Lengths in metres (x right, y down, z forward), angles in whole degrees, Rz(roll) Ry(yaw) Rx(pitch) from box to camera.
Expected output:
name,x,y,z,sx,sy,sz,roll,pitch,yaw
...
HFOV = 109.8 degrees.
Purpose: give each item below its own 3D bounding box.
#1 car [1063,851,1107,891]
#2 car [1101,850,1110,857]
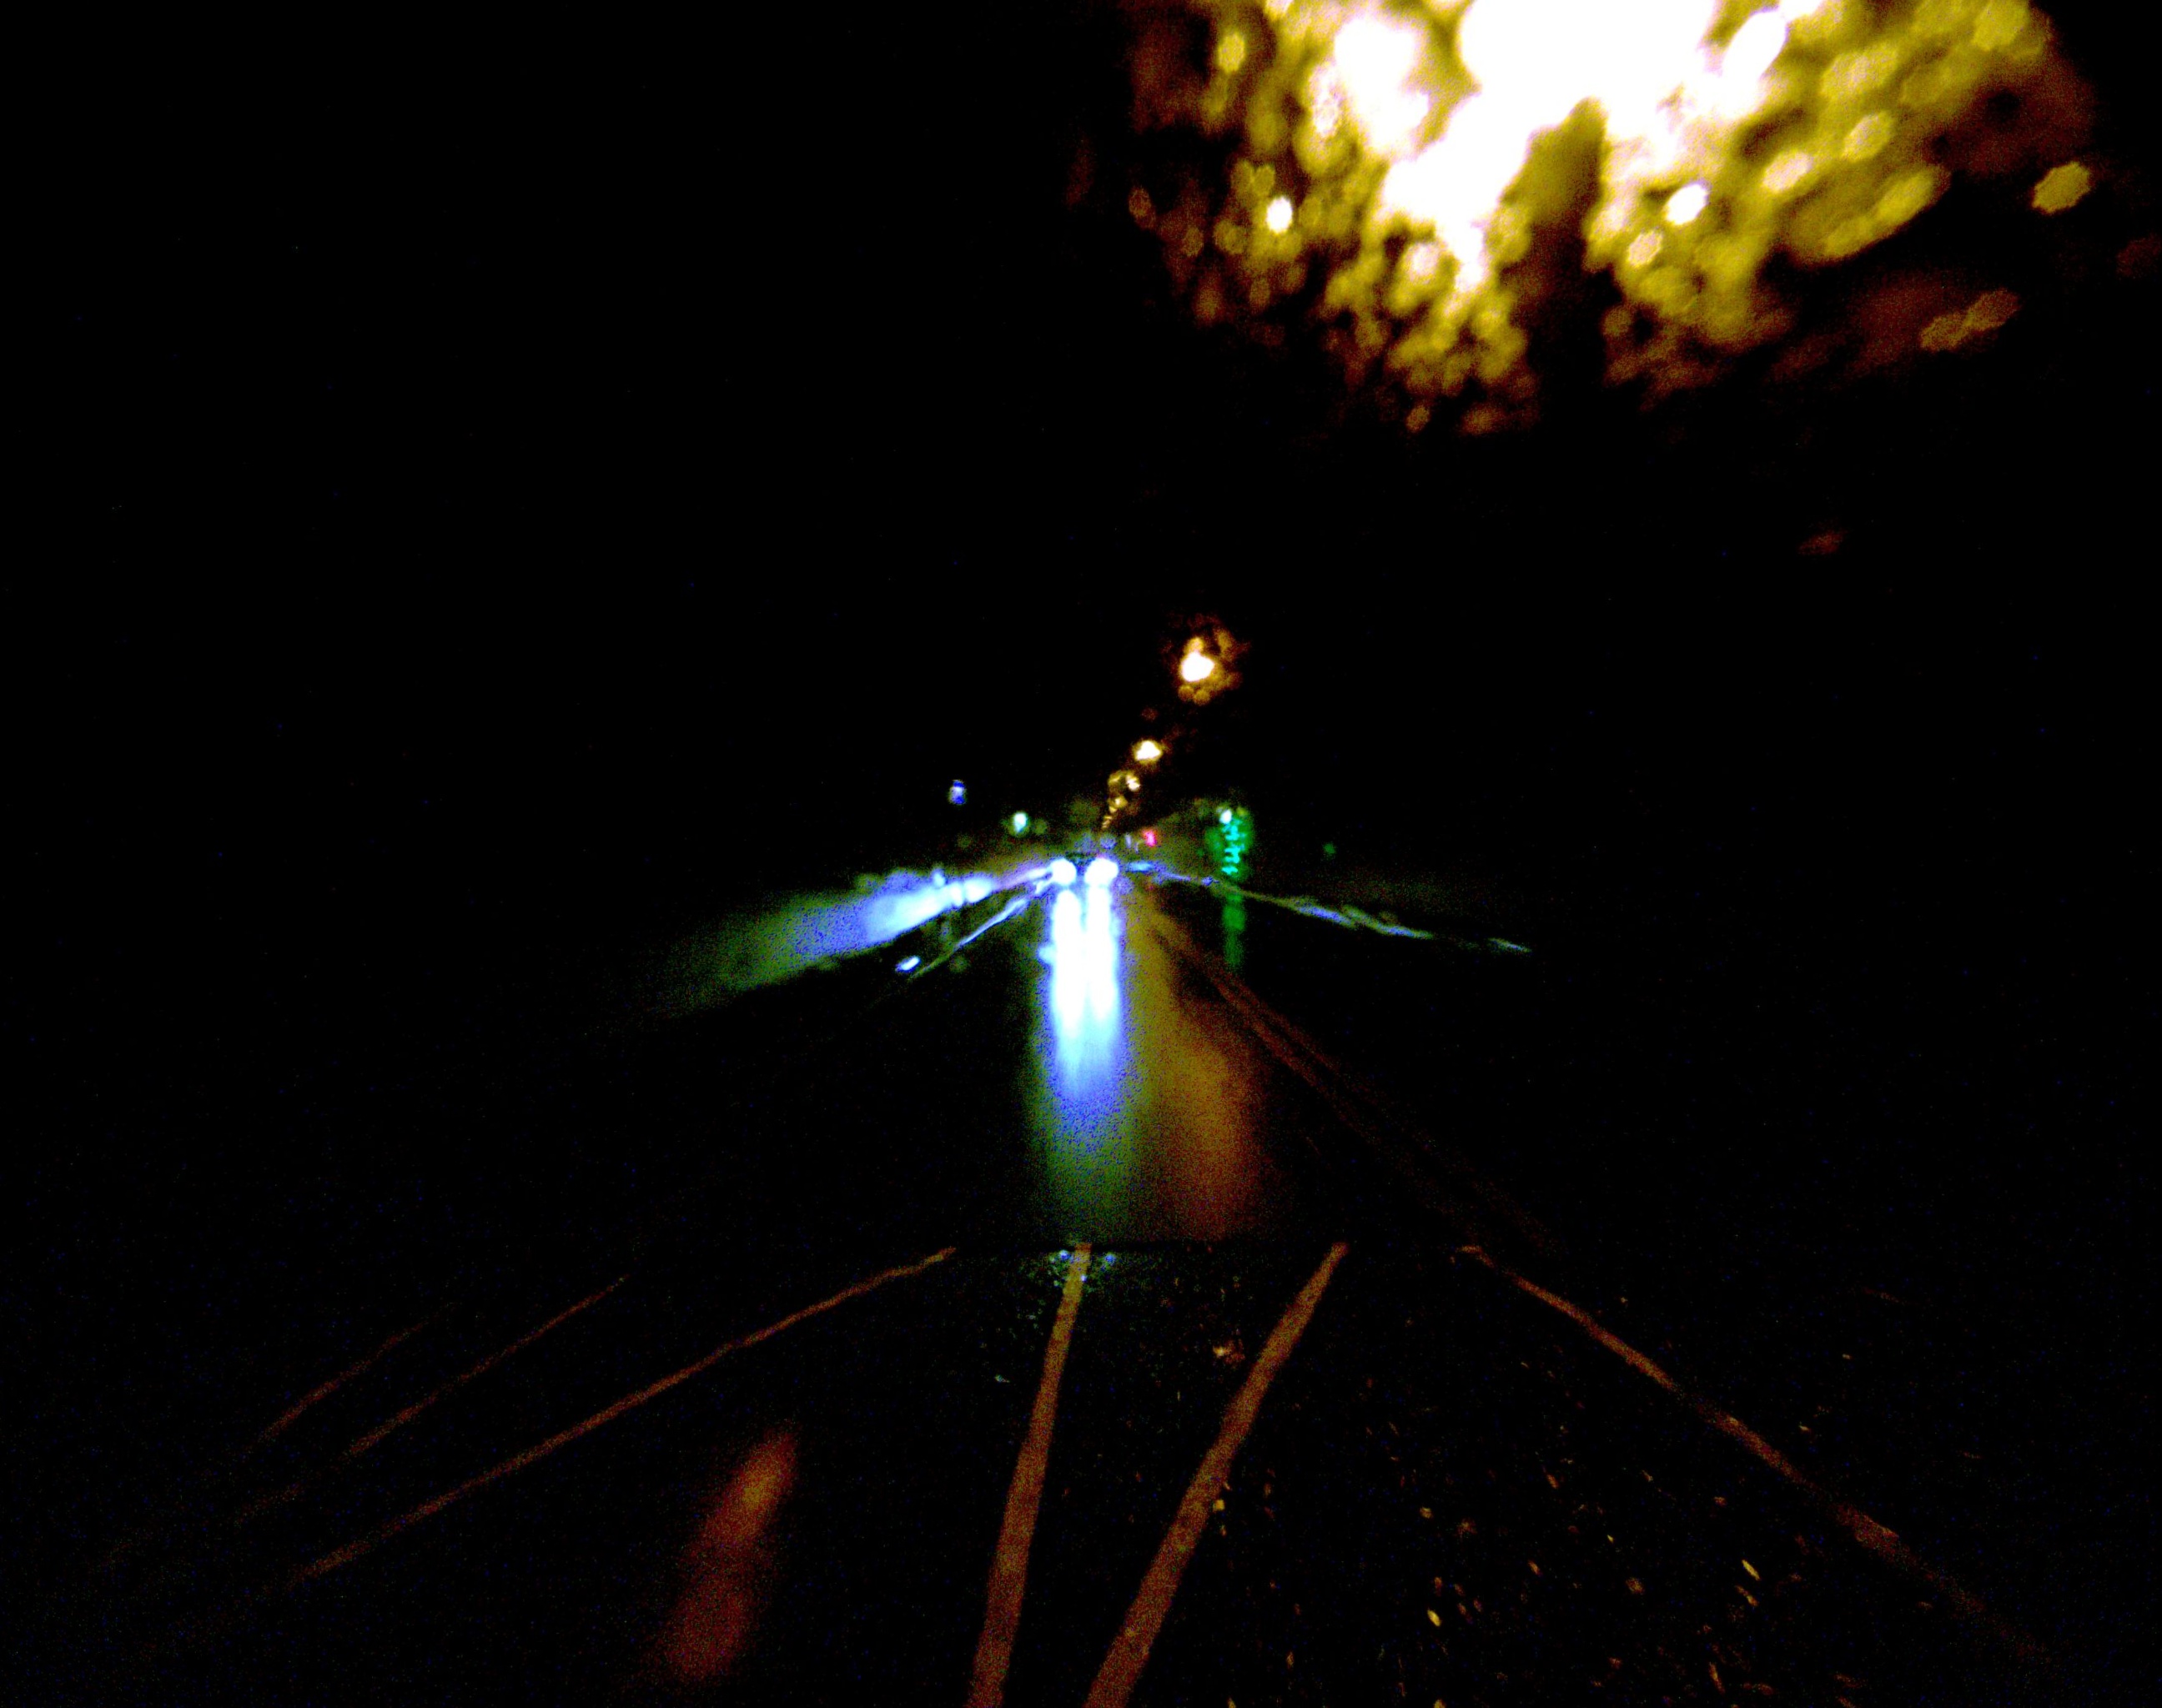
name,x,y,z,sx,sy,sz,roll,pitch,yaw
car,0.199,0.710,33.988,1.829,1.650,3.929,-1,1,1
car,5.455,-0.052,171.033,1.761,1.519,3.814,-4,0,1
